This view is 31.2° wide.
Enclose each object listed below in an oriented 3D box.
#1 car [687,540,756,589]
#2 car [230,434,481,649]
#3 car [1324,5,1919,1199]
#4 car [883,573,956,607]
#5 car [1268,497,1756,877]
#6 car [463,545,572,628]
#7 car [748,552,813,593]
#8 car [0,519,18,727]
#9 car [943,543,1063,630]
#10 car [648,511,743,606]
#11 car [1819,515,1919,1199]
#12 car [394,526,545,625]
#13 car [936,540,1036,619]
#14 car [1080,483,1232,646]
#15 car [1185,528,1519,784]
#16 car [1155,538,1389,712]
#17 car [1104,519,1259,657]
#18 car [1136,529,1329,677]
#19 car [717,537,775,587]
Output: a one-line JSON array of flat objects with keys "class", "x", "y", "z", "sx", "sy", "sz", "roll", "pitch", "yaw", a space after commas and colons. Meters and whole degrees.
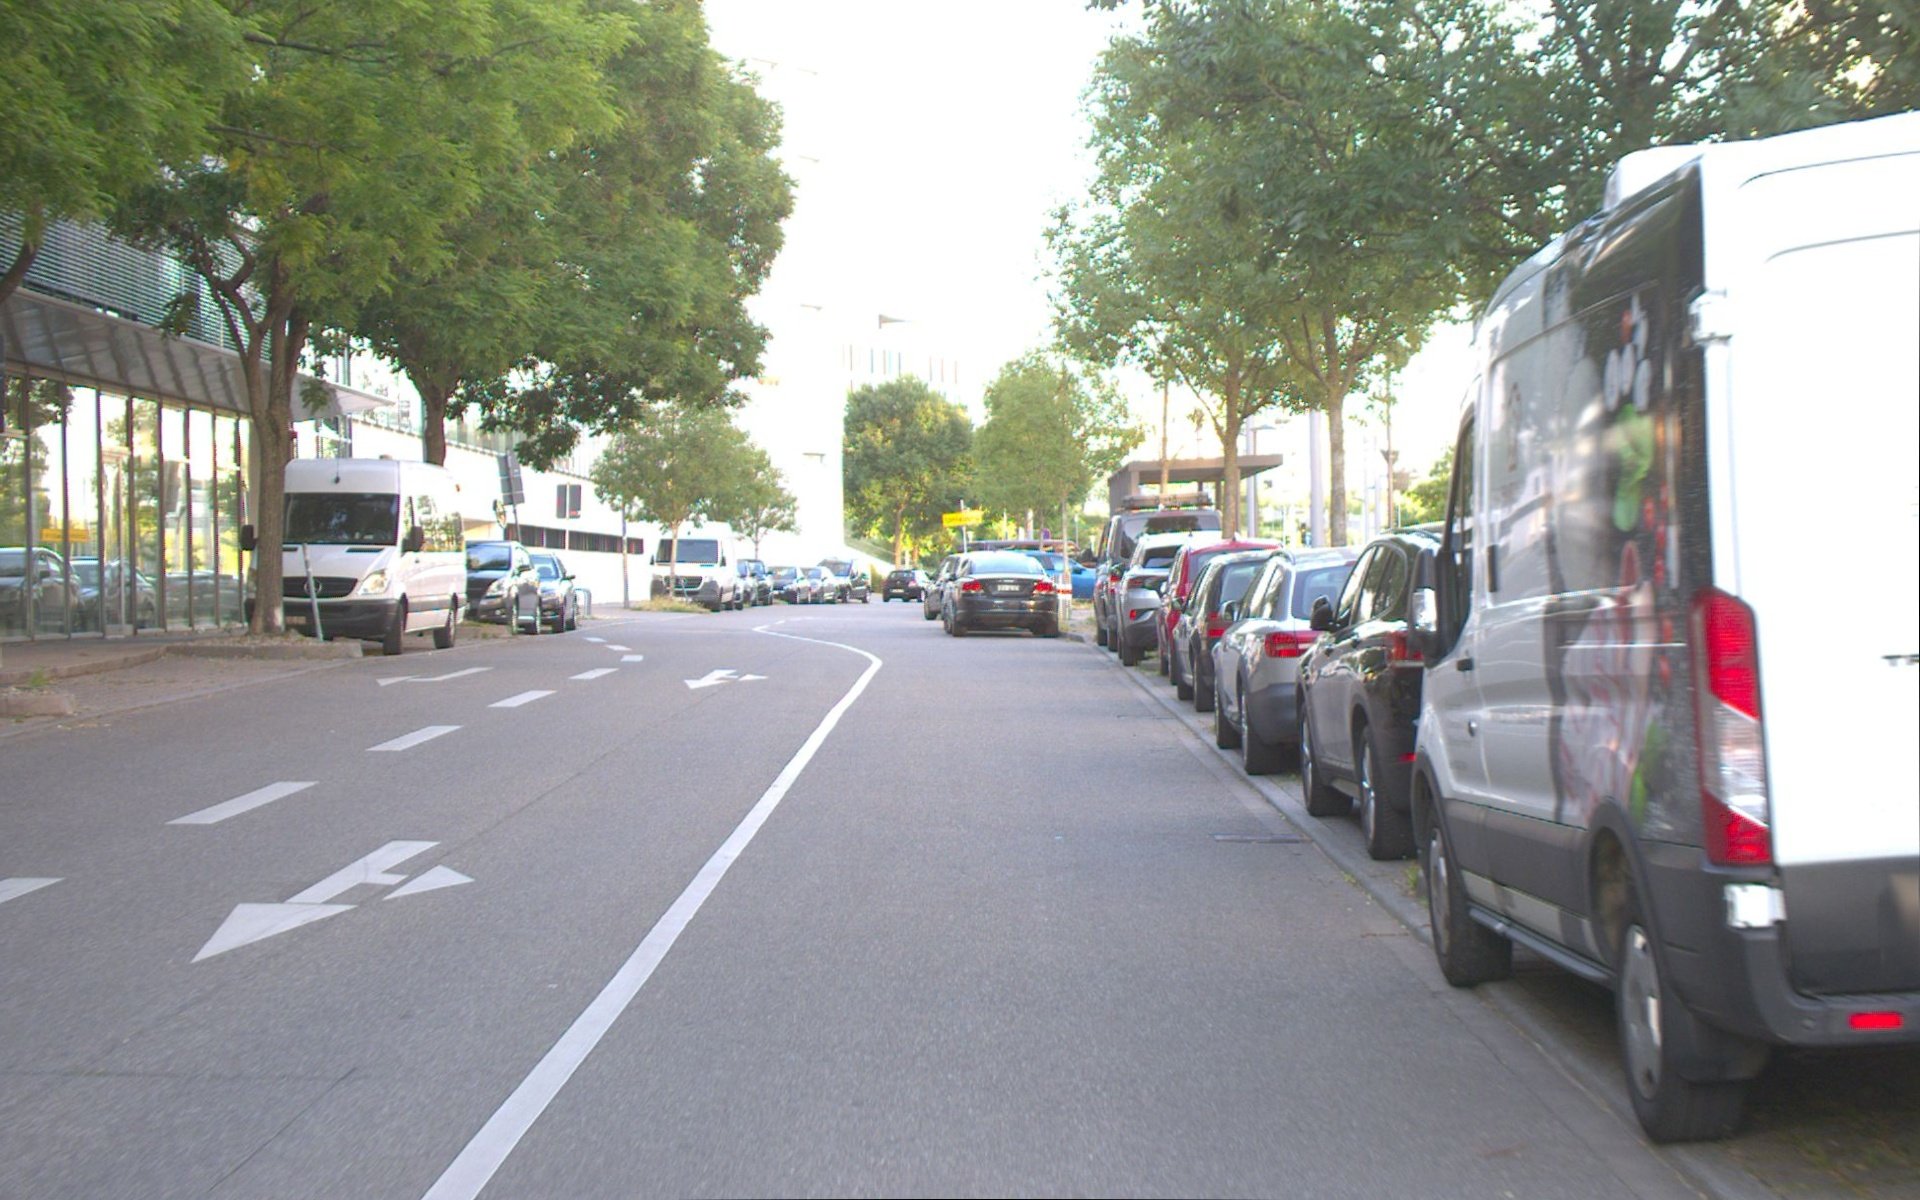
[{"class": "car", "x": -7.299, "y": -1.098, "z": 105.573, "sx": 1.756, "sy": 1.435, "sz": 3.901, "roll": 1, "pitch": 1, "yaw": 1}, {"class": "car", "x": -7.990, "y": -0.781, "z": 46.175, "sx": 2.100, "sy": 2.654, "sz": 6.951, "roll": 0, "pitch": 1, "yaw": 0}, {"class": "car", "x": 2.526, "y": -0.019, "z": 10.108, "sx": 2.051, "sy": 2.648, "sz": 5.435, "roll": -4, "pitch": 1, "yaw": -1}, {"class": "car", "x": -1.732, "y": -0.442, "z": 149.564, "sx": 1.945, "sy": 1.378, "sz": 4.396, "roll": 2, "pitch": 1, "yaw": 17}, {"class": "car", "x": 2.668, "y": 0.366, "z": 17.556, "sx": 1.707, "sy": 1.637, "sz": 4.267, "roll": -2, "pitch": 1, "yaw": -1}, {"class": "car", "x": -8.013, "y": -0.275, "z": 62.534, "sx": 1.714, "sy": 1.447, "sz": 4.400, "roll": 0, "pitch": 1, "yaw": -4}, {"class": "car", "x": -6.703, "y": -1.040, "z": 128.621, "sx": 1.723, "sy": 1.452, "sz": 4.270, "roll": 2, "pitch": 1, "yaw": 7}, {"class": "car", "x": -7.993, "y": 0.176, "z": 23.940, "sx": 1.590, "sy": 1.563, "sz": 4.471, "roll": 2, "pitch": 1, "yaw": 0}, {"class": "car", "x": 0.709, "y": -0.264, "z": 59.604, "sx": 1.787, "sy": 1.447, "sz": 4.516, "roll": 0, "pitch": 1, "yaw": -3}, {"class": "car", "x": -7.568, "y": -1.215, "z": 99.022, "sx": 1.958, "sy": 2.608, "sz": 6.892, "roll": 1, "pitch": 1, "yaw": 2}, {"class": "car", "x": 2.676, "y": 0.600, "z": 4.699, "sx": 1.748, "sy": 1.578, "sz": 4.013, "roll": -4, "pitch": 1, "yaw": -3}, {"class": "car", "x": -8.030, "y": -0.424, "z": 56.647, "sx": 1.844, "sy": 1.566, "sz": 4.267, "roll": 0, "pitch": 1, "yaw": 0}, {"class": "car", "x": 0.472, "y": -0.407, "z": 65.576, "sx": 1.676, "sy": 1.447, "sz": 4.188, "roll": 0, "pitch": 1, "yaw": -3}, {"class": "car", "x": 2.794, "y": -0.516, "z": 49.863, "sx": 1.804, "sy": 2.169, "sz": 4.736, "roll": -2, "pitch": 1, "yaw": -1}, {"class": "car", "x": 2.607, "y": 0.315, "z": 23.907, "sx": 1.796, "sy": 1.491, "sz": 4.780, "roll": -4, "pitch": 1, "yaw": 1}, {"class": "car", "x": 2.829, "y": 0.197, "z": 31.898, "sx": 1.707, "sy": 1.446, "sz": 4.000, "roll": -2, "pitch": 1, "yaw": -1}, {"class": "car", "x": 2.747, "y": -0.169, "z": 43.382, "sx": 1.707, "sy": 1.575, "sz": 4.479, "roll": -2, "pitch": 1, "yaw": 1}, {"class": "car", "x": 2.964, "y": 0.012, "z": 38.122, "sx": 1.707, "sy": 1.488, "sz": 4.131, "roll": -2, "pitch": 1, "yaw": -1}, {"class": "car", "x": -7.485, "y": -1.344, "z": 120.411, "sx": 1.756, "sy": 1.648, "sz": 3.949, "roll": 1, "pitch": 1, "yaw": 0}]
